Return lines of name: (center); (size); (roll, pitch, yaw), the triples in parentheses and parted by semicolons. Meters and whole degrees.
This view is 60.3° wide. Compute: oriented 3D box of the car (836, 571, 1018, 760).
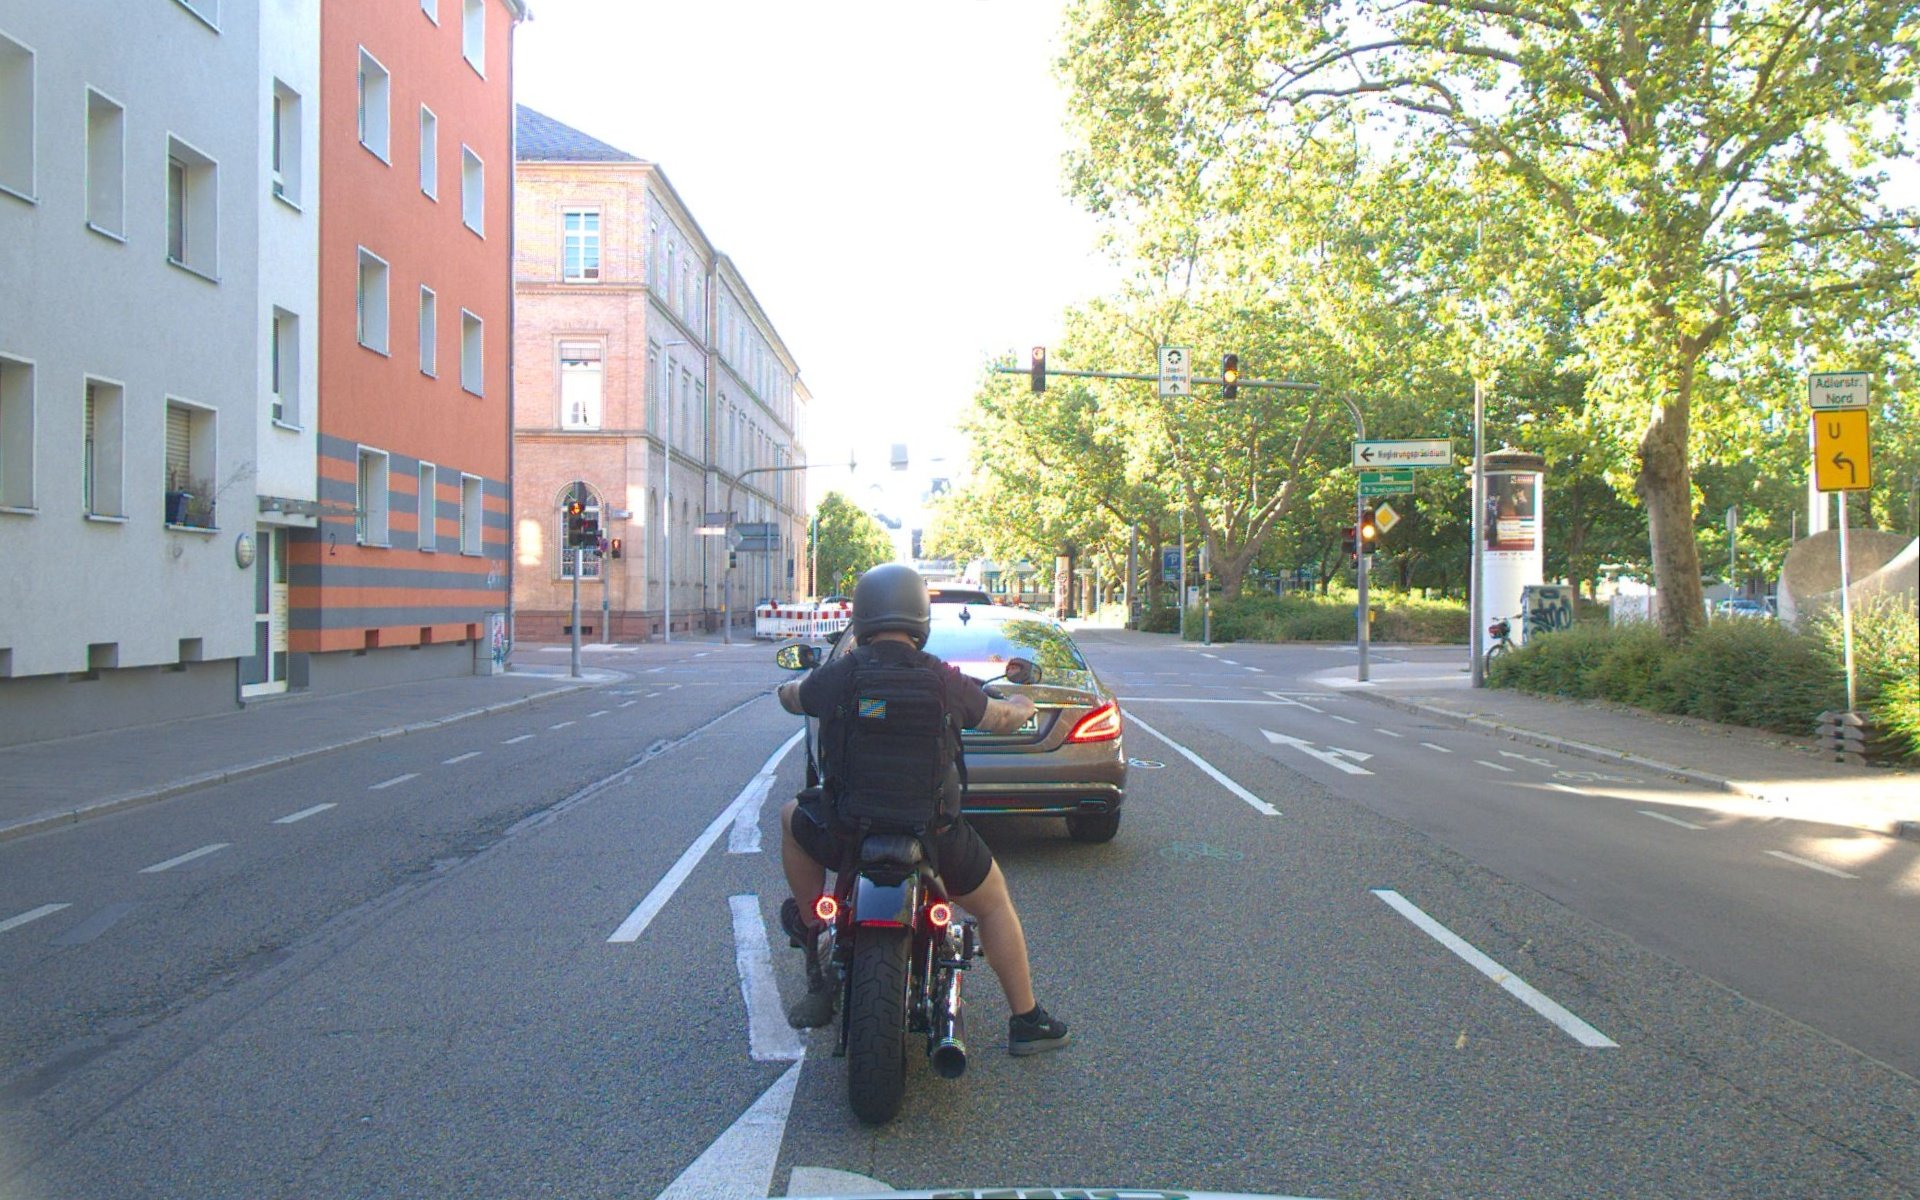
car: (-0.327, 0.604, 16.955); (1.618, 1.681, 3.999); (1, 0, -1)

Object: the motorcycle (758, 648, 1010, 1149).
motorcycle: (-0.216, 0.820, 5.402); (0.646, 1.261, 2.057); (1, 0, -1)

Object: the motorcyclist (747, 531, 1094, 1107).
motorcyclist: (-0.120, 0.633, 5.312); (0.970, 1.639, 1.120); (1, 0, -1)

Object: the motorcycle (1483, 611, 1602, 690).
motorcycle: (9.781, 0.840, 27.809); (1.743, 1.265, 0.723); (1, 0, 4)

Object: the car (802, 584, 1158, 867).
car: (-0.082, 0.688, 11.112); (1.790, 1.512, 4.326); (1, 0, -7)

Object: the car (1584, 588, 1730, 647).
car: (21.997, 0.540, 52.279); (3.907, 1.803, 1.737); (0, 0, -3)

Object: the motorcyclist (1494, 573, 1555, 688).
motorcyclist: (9.489, 0.508, 27.820); (0.805, 1.896, 0.672); (1, -1, 4)
